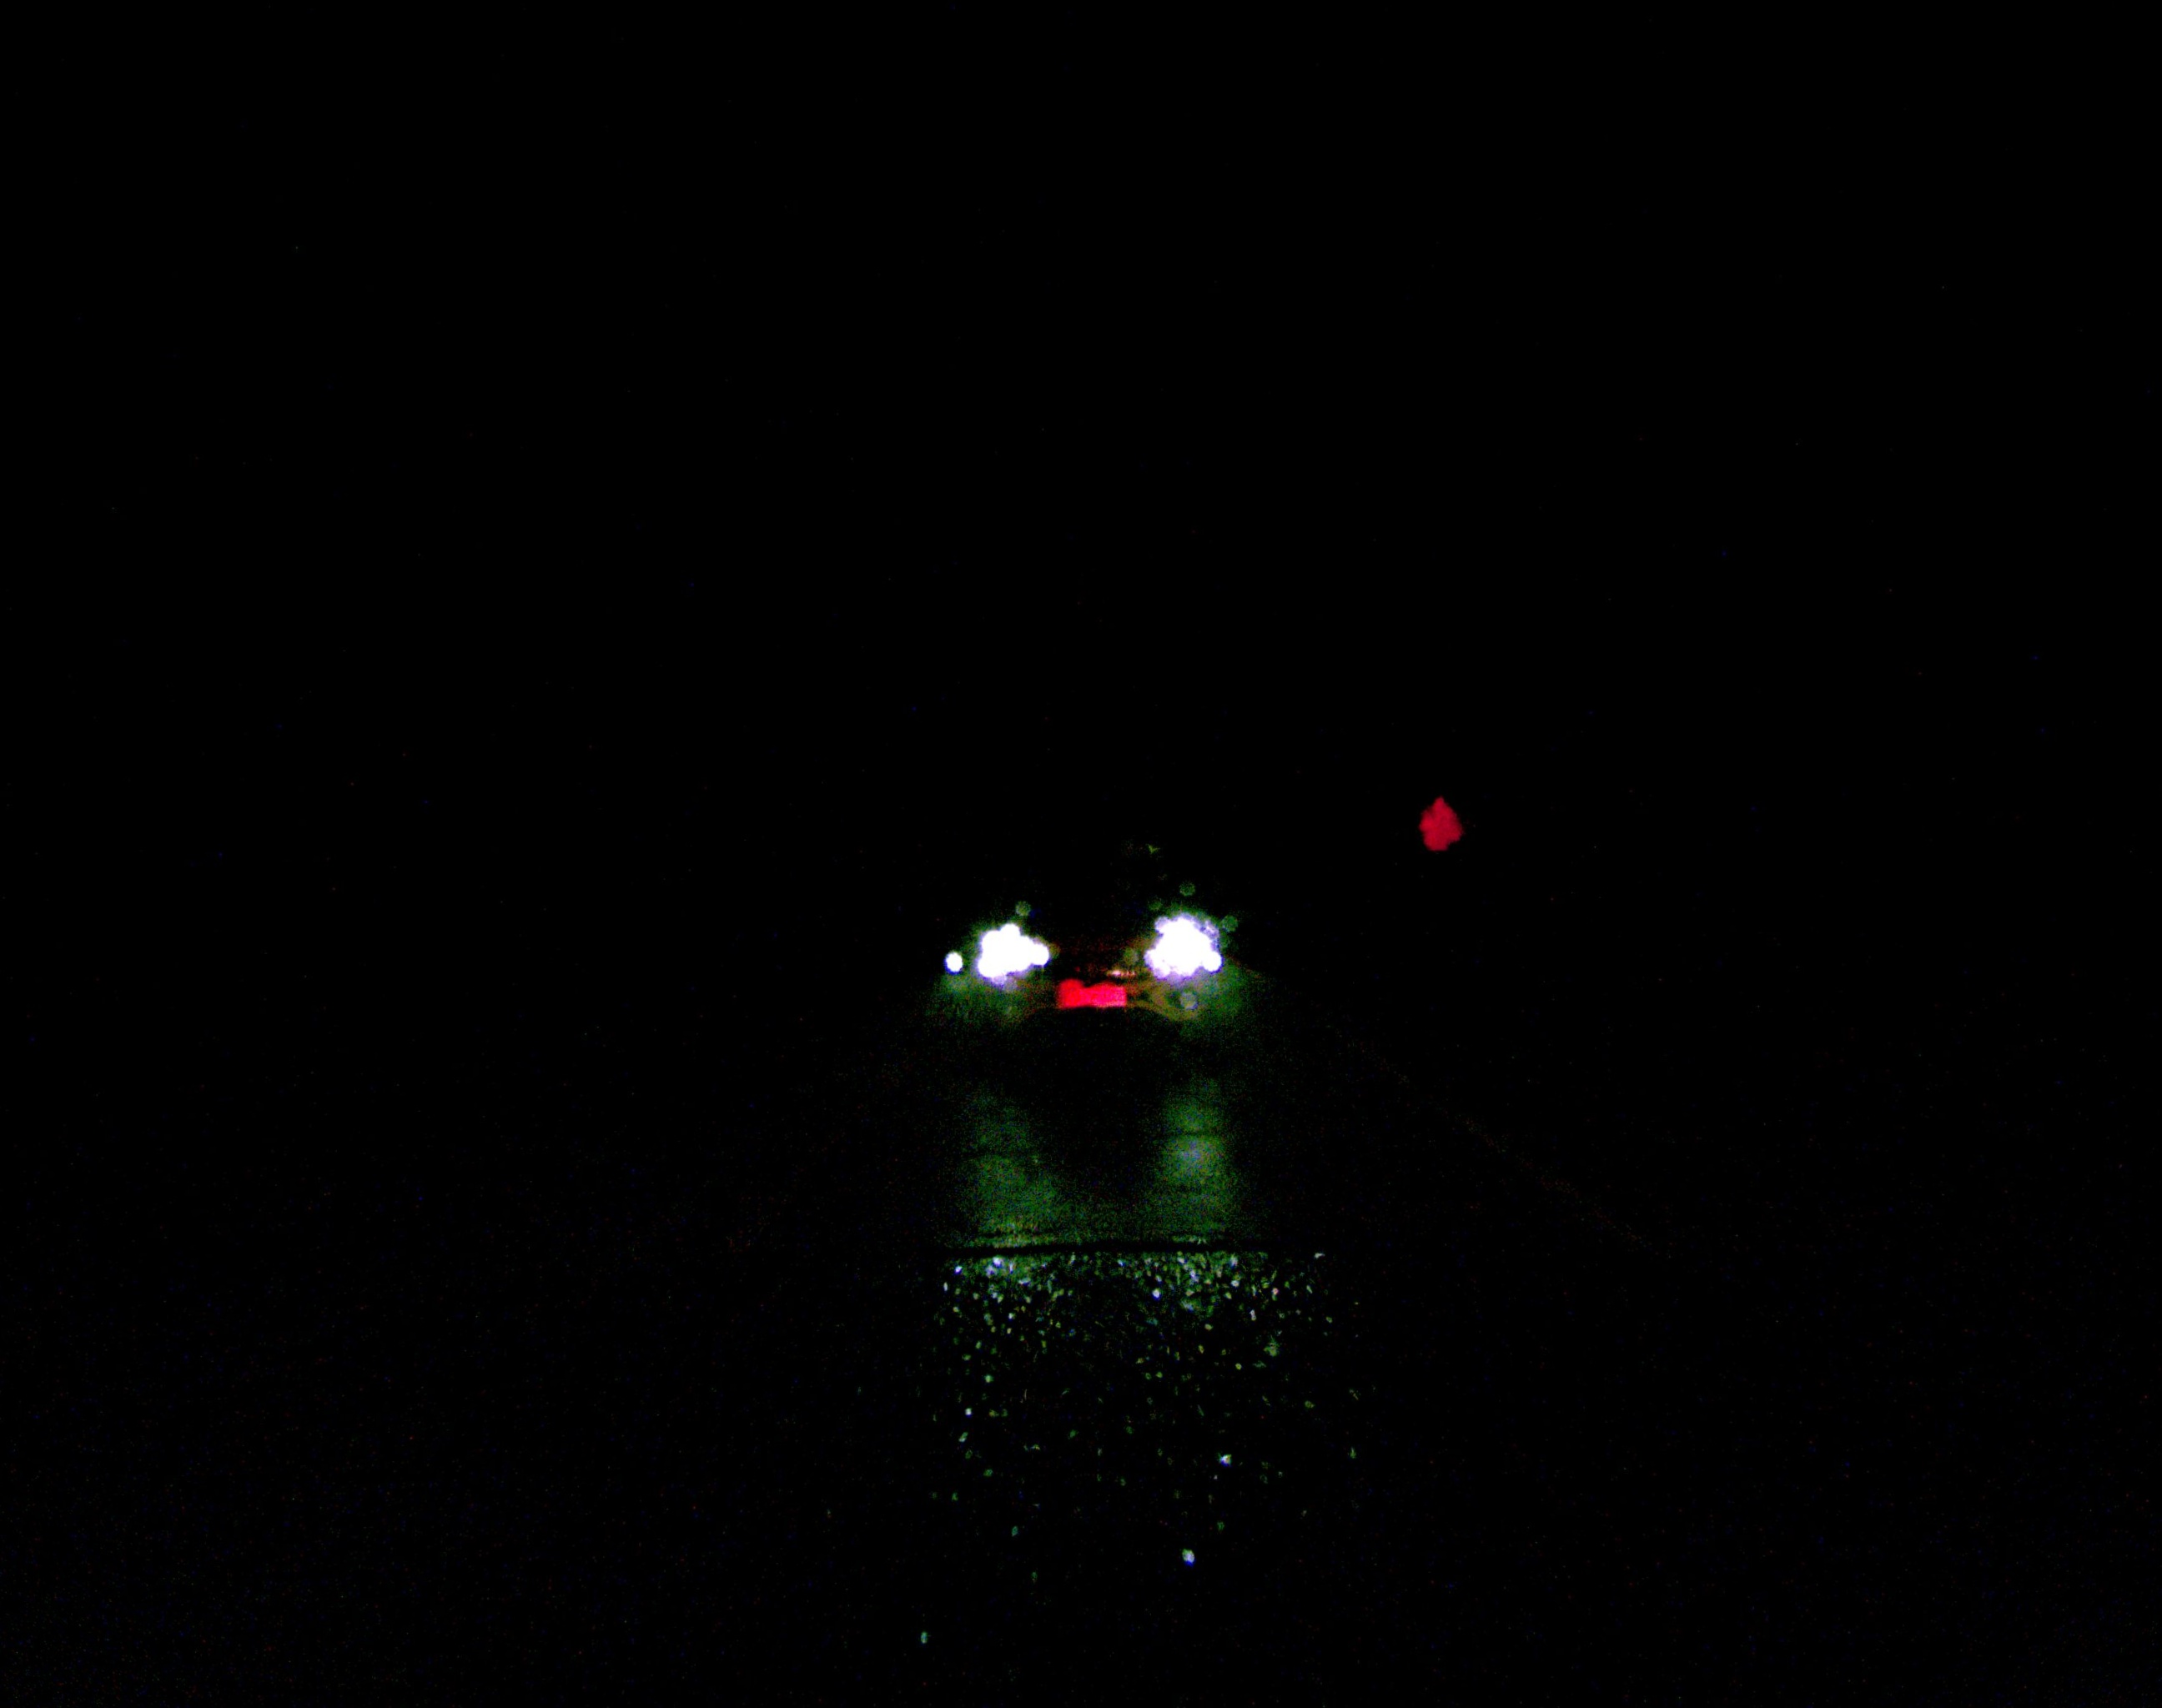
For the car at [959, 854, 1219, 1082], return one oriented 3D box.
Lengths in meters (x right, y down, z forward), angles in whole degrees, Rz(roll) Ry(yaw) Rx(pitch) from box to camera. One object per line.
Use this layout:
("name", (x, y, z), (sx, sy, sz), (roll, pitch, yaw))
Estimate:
("car", (0.155, 0.839, 7.529), (1.845, 1.565, 4.000), (-2, 1, 3))
